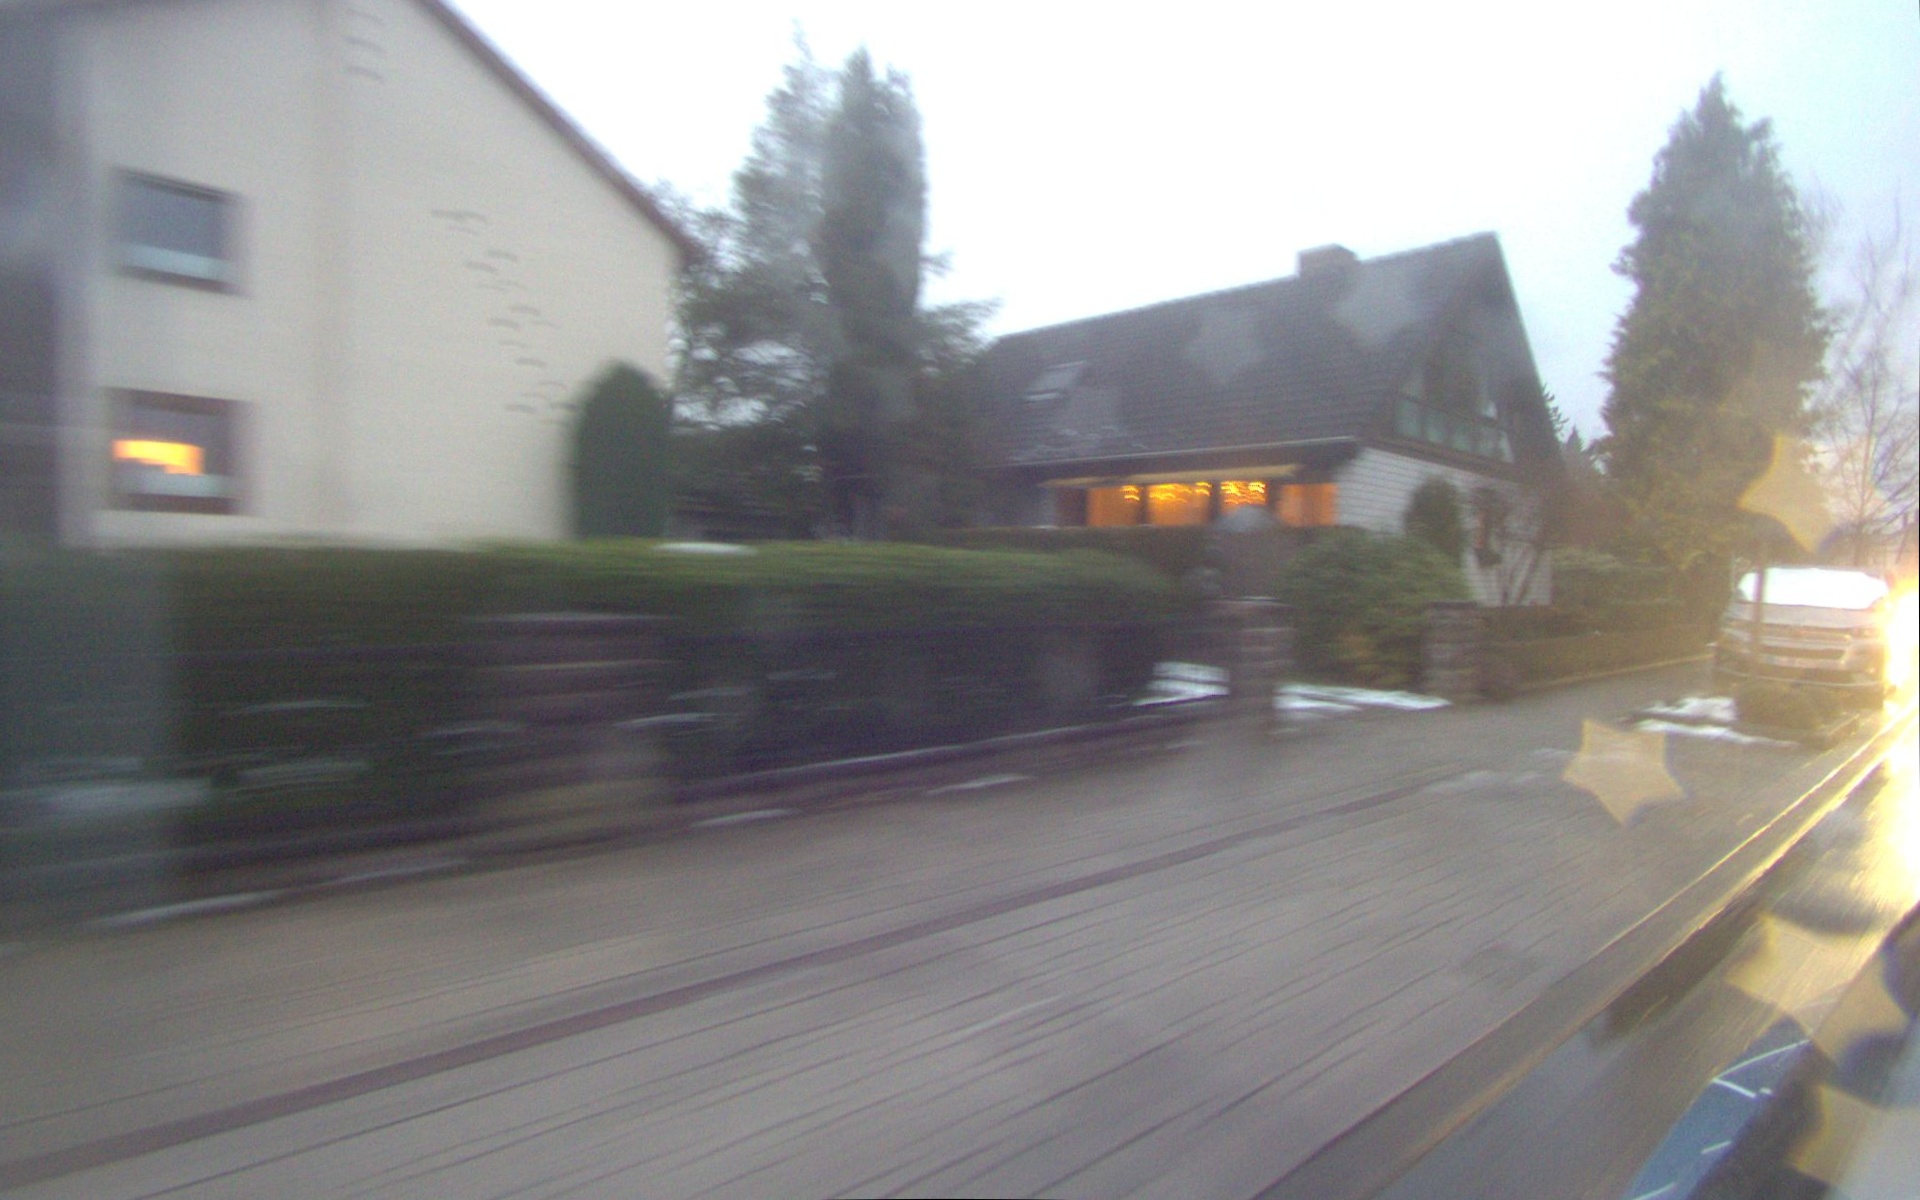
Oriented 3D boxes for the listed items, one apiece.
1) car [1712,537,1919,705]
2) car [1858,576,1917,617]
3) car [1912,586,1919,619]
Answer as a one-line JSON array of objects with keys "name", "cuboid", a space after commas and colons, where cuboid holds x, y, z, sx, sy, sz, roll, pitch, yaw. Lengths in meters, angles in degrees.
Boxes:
[{"name": "car", "cuboid": [13.152, 0.206, 15.298, 1.979, 2.038, 5.652, 5, 4, 45]}, {"name": "car", "cuboid": [39.587, -0.195, 43.267, 1.649, 1.558, 3.340, 7, 6, 41]}, {"name": "car", "cuboid": [50.399, 0.170, 51.751, 1.989, 1.691, 3.947, 2, 2, 37]}]
